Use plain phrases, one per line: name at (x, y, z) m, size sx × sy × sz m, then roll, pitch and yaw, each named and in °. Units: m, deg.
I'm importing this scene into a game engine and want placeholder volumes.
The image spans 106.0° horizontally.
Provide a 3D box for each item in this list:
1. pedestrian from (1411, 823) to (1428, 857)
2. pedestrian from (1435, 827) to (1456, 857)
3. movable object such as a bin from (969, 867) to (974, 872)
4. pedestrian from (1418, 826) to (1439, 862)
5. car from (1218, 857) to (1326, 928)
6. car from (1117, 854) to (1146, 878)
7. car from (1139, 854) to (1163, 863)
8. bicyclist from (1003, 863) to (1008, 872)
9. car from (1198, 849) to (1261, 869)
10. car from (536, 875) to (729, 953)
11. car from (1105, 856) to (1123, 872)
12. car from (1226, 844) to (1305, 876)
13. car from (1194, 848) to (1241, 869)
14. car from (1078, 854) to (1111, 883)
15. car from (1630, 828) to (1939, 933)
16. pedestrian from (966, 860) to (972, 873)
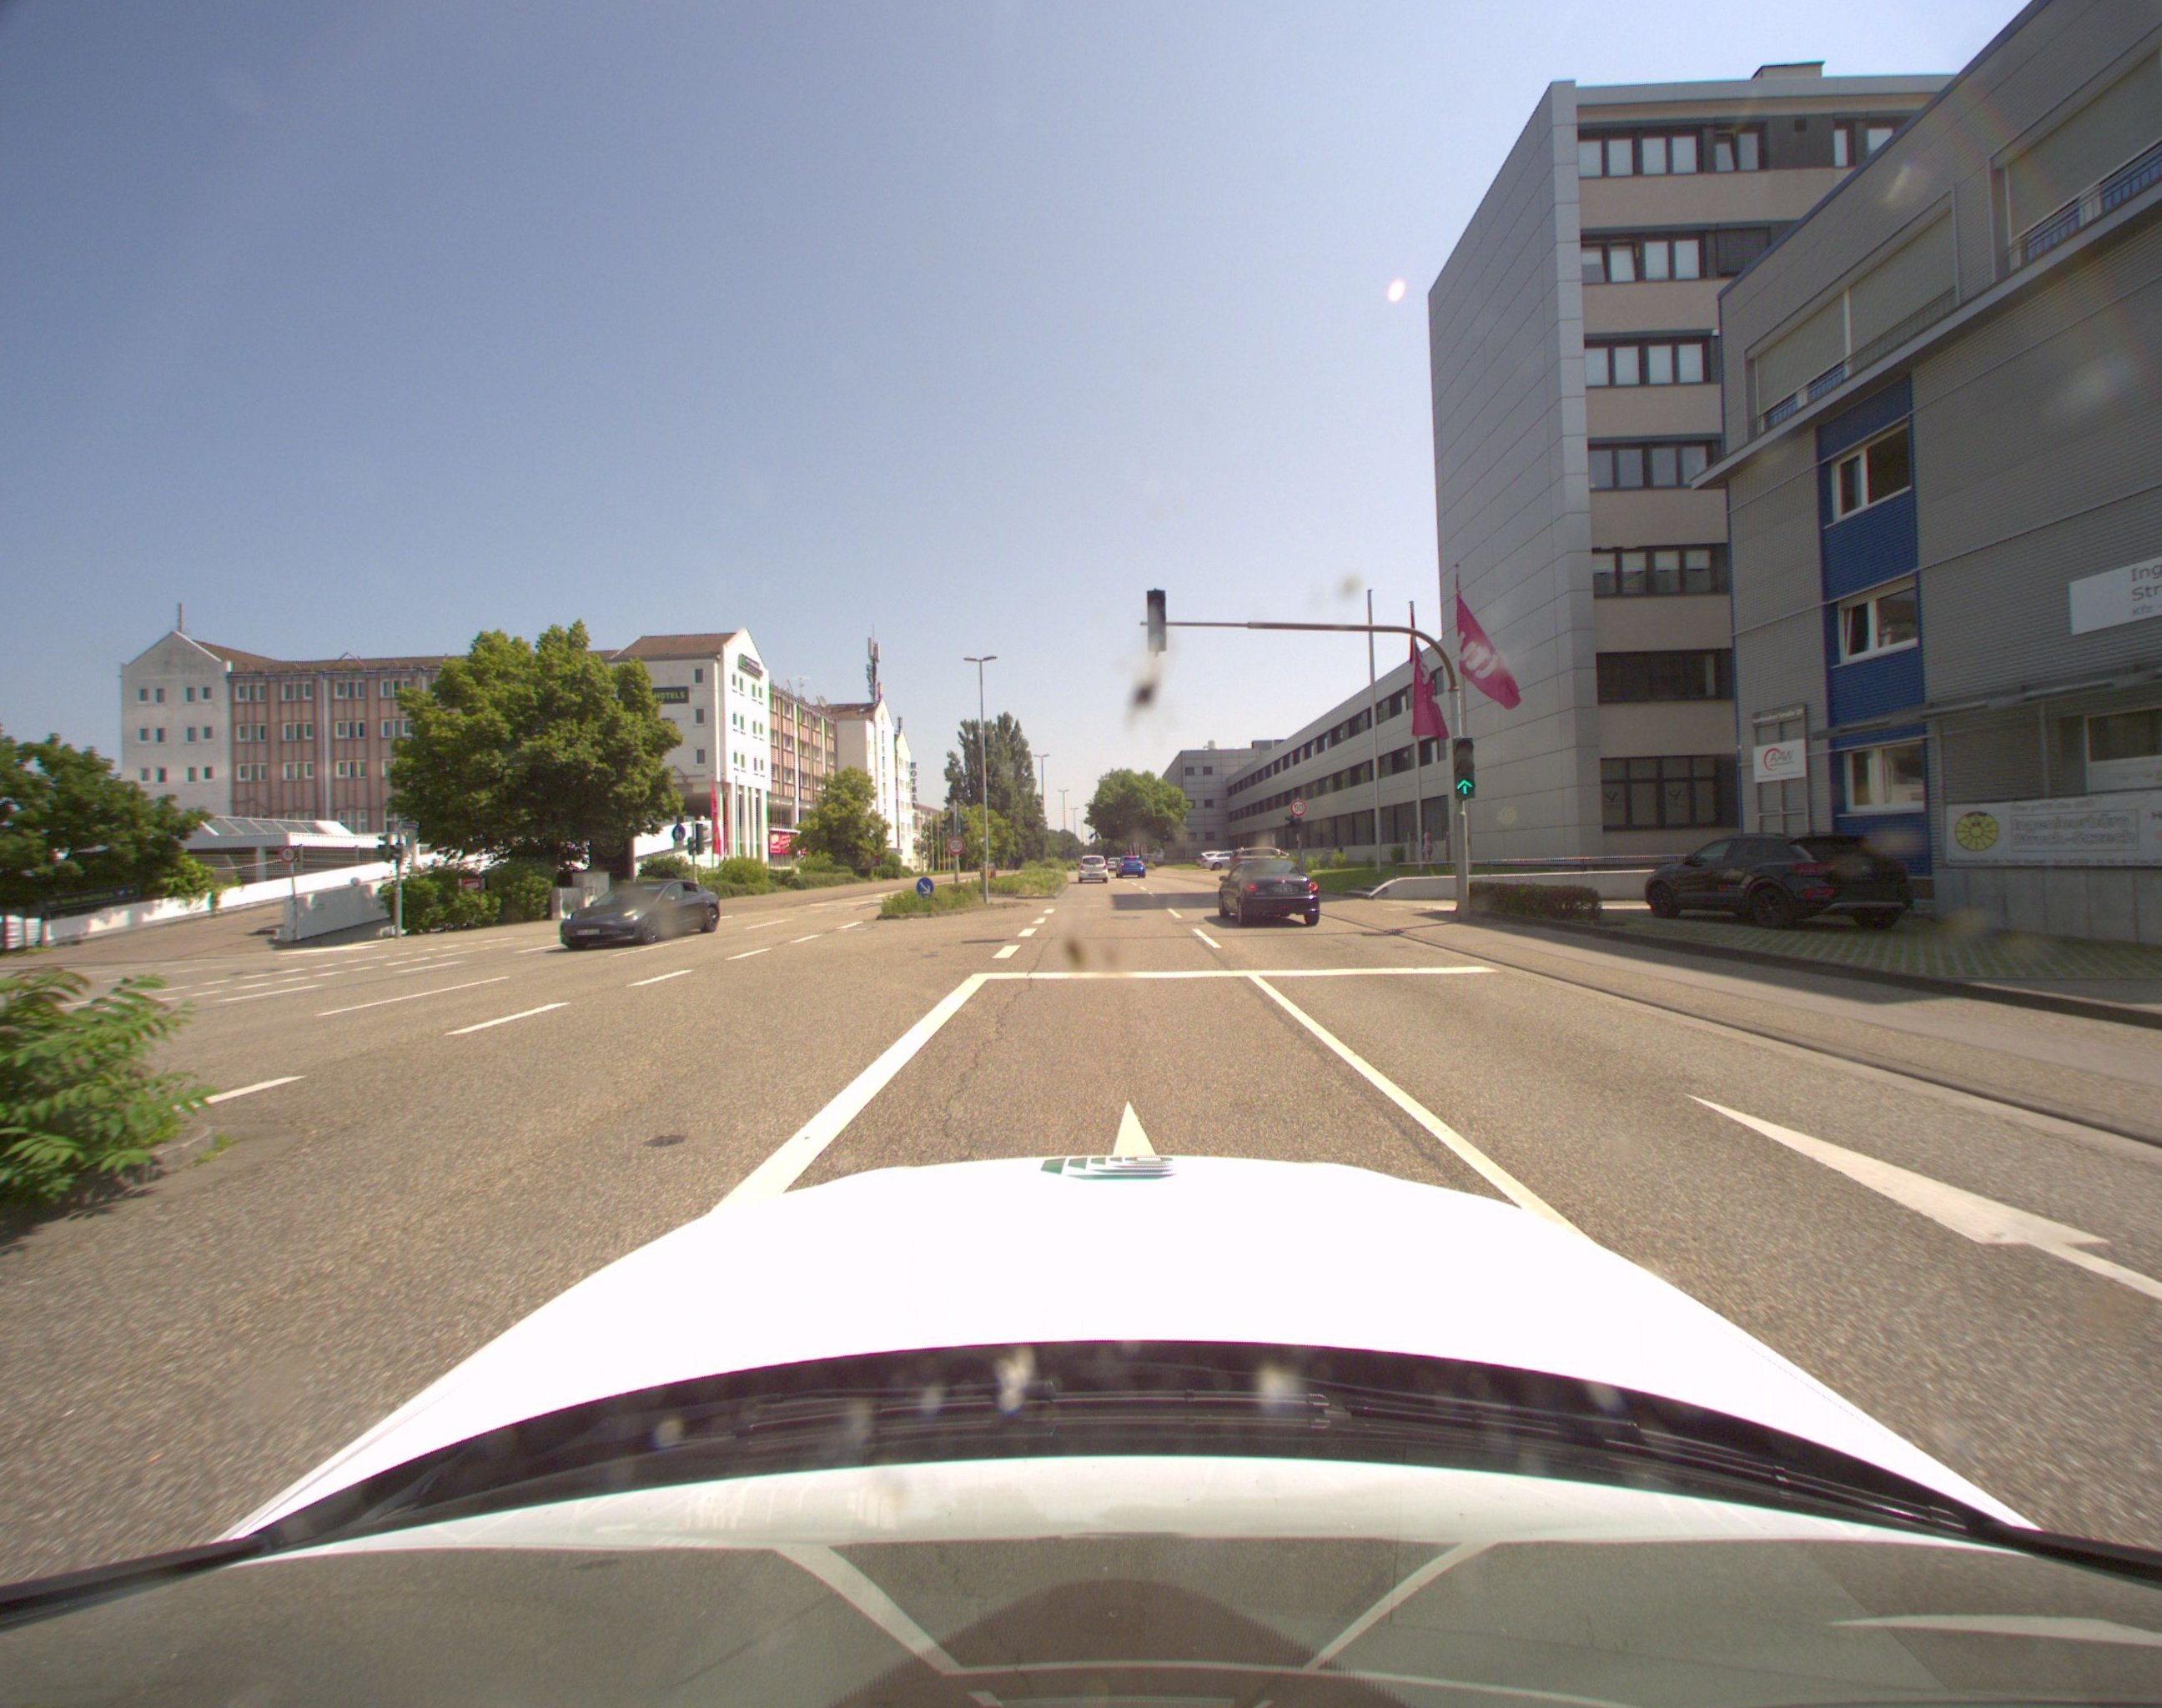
pedestrian at (16.766, -0.674, 40.345) m, size 0.589 × 1.634 × 0.525 m, roll -3°, pitch 0°, yaw 10°
pedestrian at (17.548, -0.564, 39.233) m, size 0.521 × 1.405 × 0.797 m, roll -3°, pitch 0°, yaw -8°
movable object such as a bin at (-14.209, 2.019, 105.217) m, size 0.425 × 0.705 × 0.654 m, roll -3°, pitch -1°, yaw 10°
pedestrian at (16.650, -0.471, 39.043) m, size 0.523 × 1.663 × 0.753 m, roll -2°, pitch 0°, yaw -16°
car at (4.130, 0.782, 18.127) m, size 1.621 × 1.364 × 3.606 m, roll -1°, pitch 0°, yaw 1°
car at (3.537, 0.840, 57.684) m, size 1.821 × 1.580 × 3.606 m, roll -2°, pitch 0°, yaw 1°
car at (13.845, 0.837, 161.594) m, size 4.483 × 1.583 × 2.000 m, roll -3°, pitch -1°, yaw 0°
bicyclist at (-12.056, 2.138, 130.525) m, size 0.715 × 1.516 × 1.026 m, roll -3°, pitch -1°, yaw -2°
car at (11.830, 0.406, 65.054) m, size 4.603 × 1.390 × 1.998 m, roll -3°, pitch 0°, yaw -3°
car at (-10.567, 1.346, 19.661) m, size 1.986 × 1.486 × 4.503 m, roll -2°, pitch 0°, yaw 2°
car at (3.275, 0.960, 80.549) m, size 1.552 × 1.520 × 3.610 m, roll -2°, pitch 0°, yaw 4°
car at (11.111, 0.377, 49.308) m, size 4.249 × 1.689 × 1.998 m, roll -3°, pitch 0°, yaw -3°
car at (12.346, 0.391, 73.902) m, size 3.804 × 1.592 × 1.730 m, roll -5°, pitch 0°, yaw -3°
car at (0.801, 0.801, 46.659) m, size 1.741 × 1.520 × 3.749 m, roll -1°, pitch 0°, yaw 3°
car at (11.826, 0.399, 14.154) m, size 1.837 × 1.531 × 4.198 m, roll 0°, pitch 0°, yaw 2°
pedestrian at (-14.502, 1.626, 105.715) m, size 0.630 × 1.545 × 0.727 m, roll -3°, pitch -1°, yaw 1°
